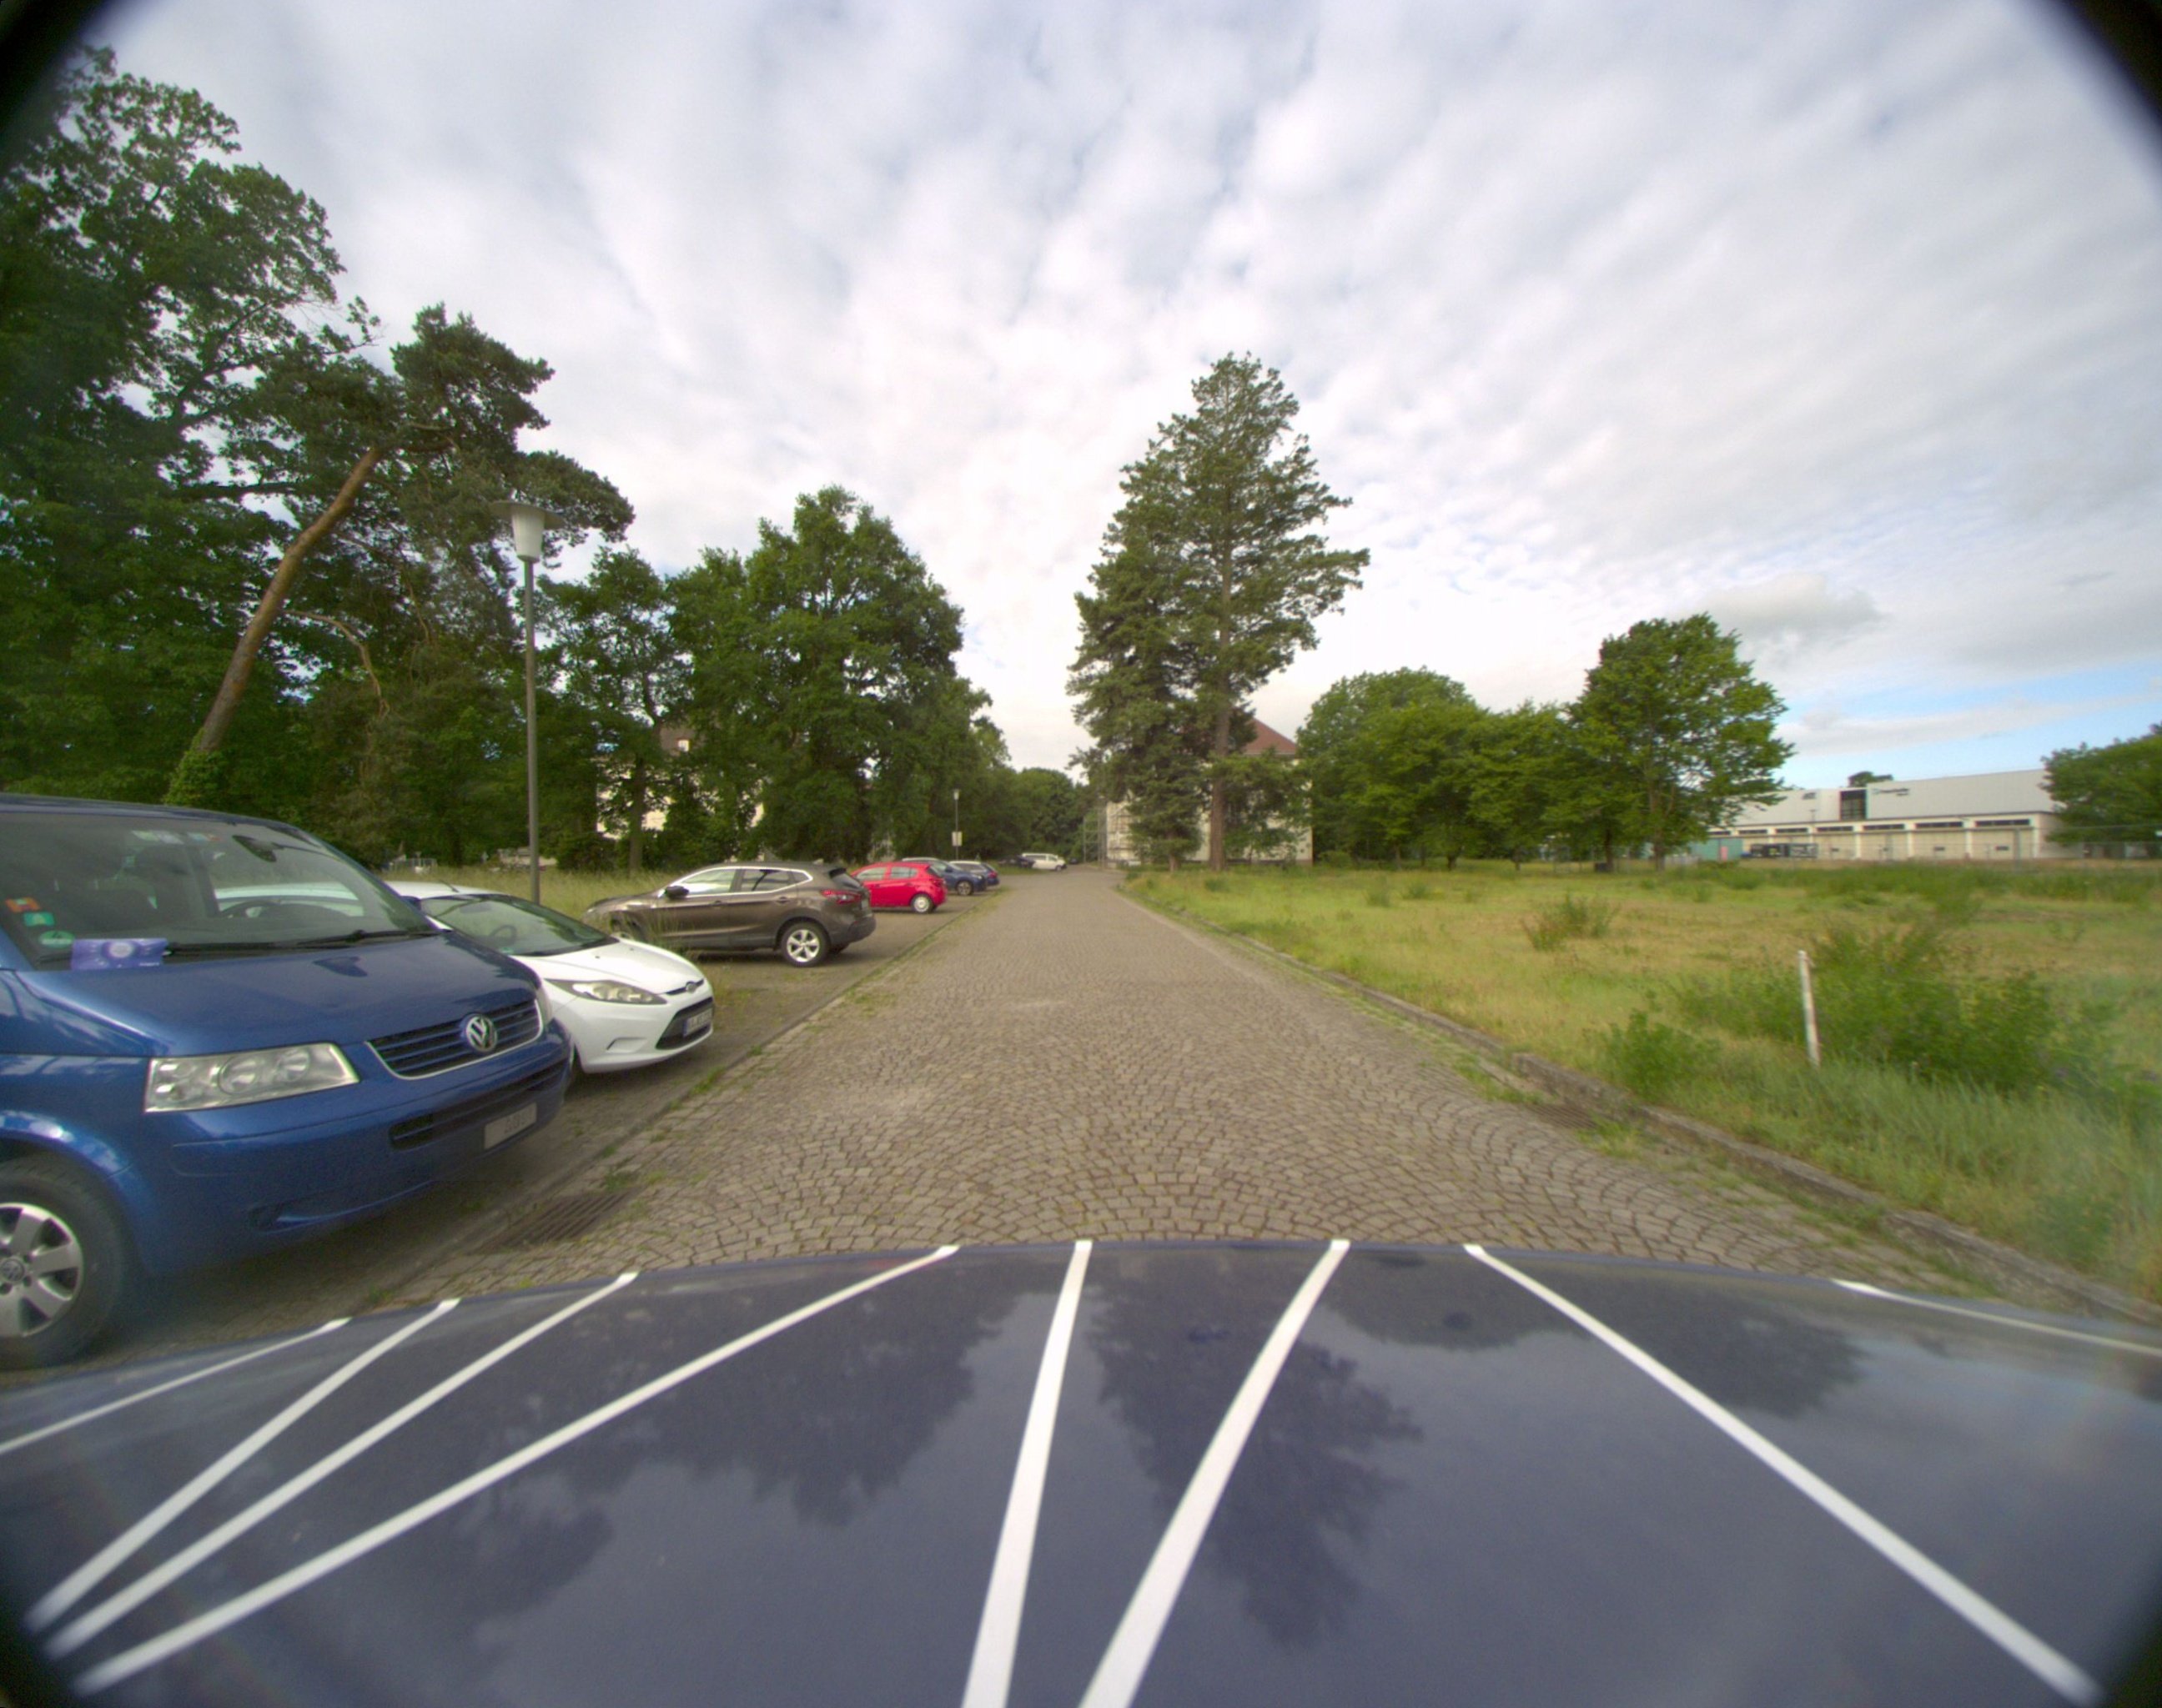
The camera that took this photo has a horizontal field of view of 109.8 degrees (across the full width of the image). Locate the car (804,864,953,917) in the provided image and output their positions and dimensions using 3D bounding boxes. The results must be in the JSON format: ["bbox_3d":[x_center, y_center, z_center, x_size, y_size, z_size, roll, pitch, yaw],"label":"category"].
[{"bbox_3d":[-5.866,1.036,22.388,3.934,1.488,1.784,0,0,-4],"label":"car"}]

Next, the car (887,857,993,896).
[{"bbox_3d":[-5.985,0.939,32.691,4.257,1.613,1.886,0,0,-4],"label":"car"}]

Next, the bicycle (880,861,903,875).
[{"bbox_3d":[-16.378,1.207,65.787,1.862,1.163,0.487,-2,1,-28],"label":"bicycle"}]

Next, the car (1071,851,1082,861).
[{"bbox_3d":[-0.945,0.418,152.901,1.963,2.002,4.259,0,0,-3],"label":"car"}]

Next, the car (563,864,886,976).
[{"bbox_3d":[-5.435,0.974,12.093,4.216,1.585,1.952,0,0,-4],"label":"car"}]

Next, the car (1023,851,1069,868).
[{"bbox_3d":[-3.913,0.611,86.338,5.150,2.002,1.999,0,1,-2],"label":"car"}]

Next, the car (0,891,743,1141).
[{"bbox_3d":[-4.998,1.057,5.750,4.110,1.470,1.721,0,0,-5],"label":"car"}]

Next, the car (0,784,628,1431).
[{"bbox_3d":[-4.931,0.779,3.204,4.809,1.992,1.965,0,0,-4],"label":"car"}]

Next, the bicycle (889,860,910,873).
[{"bbox_3d":[-16.825,1.126,70.340,1.860,1.163,0.488,1,0,-12],"label":"bicycle"}]

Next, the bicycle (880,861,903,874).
[{"bbox_3d":[-16.753,1.186,67.053,1.862,1.163,0.487,-2,1,-23],"label":"bicycle"}]

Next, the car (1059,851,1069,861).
[{"bbox_3d":[-3.471,0.455,152.563,1.963,2.002,4.259,0,0,-3],"label":"car"}]

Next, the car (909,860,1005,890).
[{"bbox_3d":[-6.042,1.023,37.433,4.368,1.430,1.926,0,0,0],"label":"car"}]
